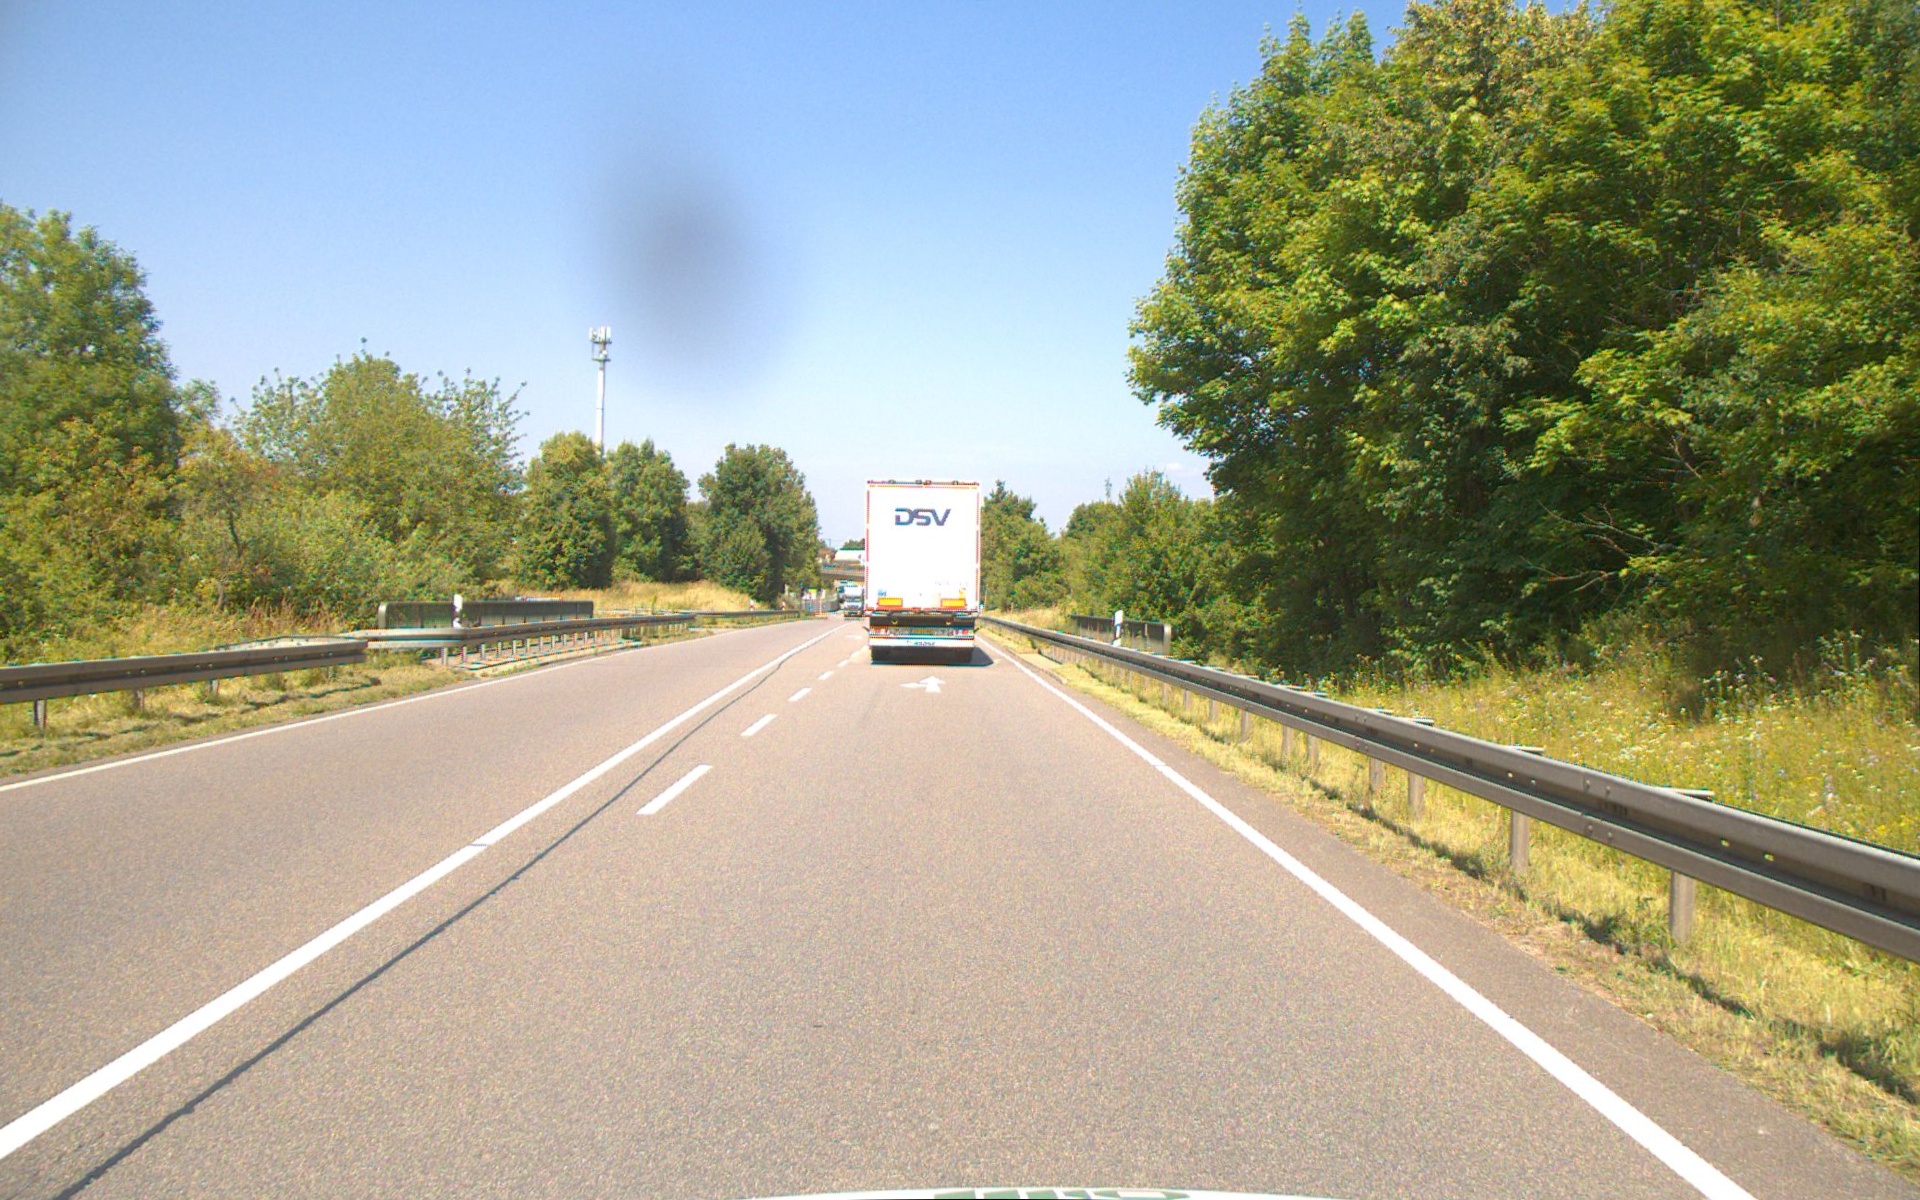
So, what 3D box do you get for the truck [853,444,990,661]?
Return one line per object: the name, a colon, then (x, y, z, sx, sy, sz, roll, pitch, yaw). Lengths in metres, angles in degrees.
truck: (-0.931, -0.994, 40.639, 2.890, 4.649, 9.859, 1, -1, -1)
